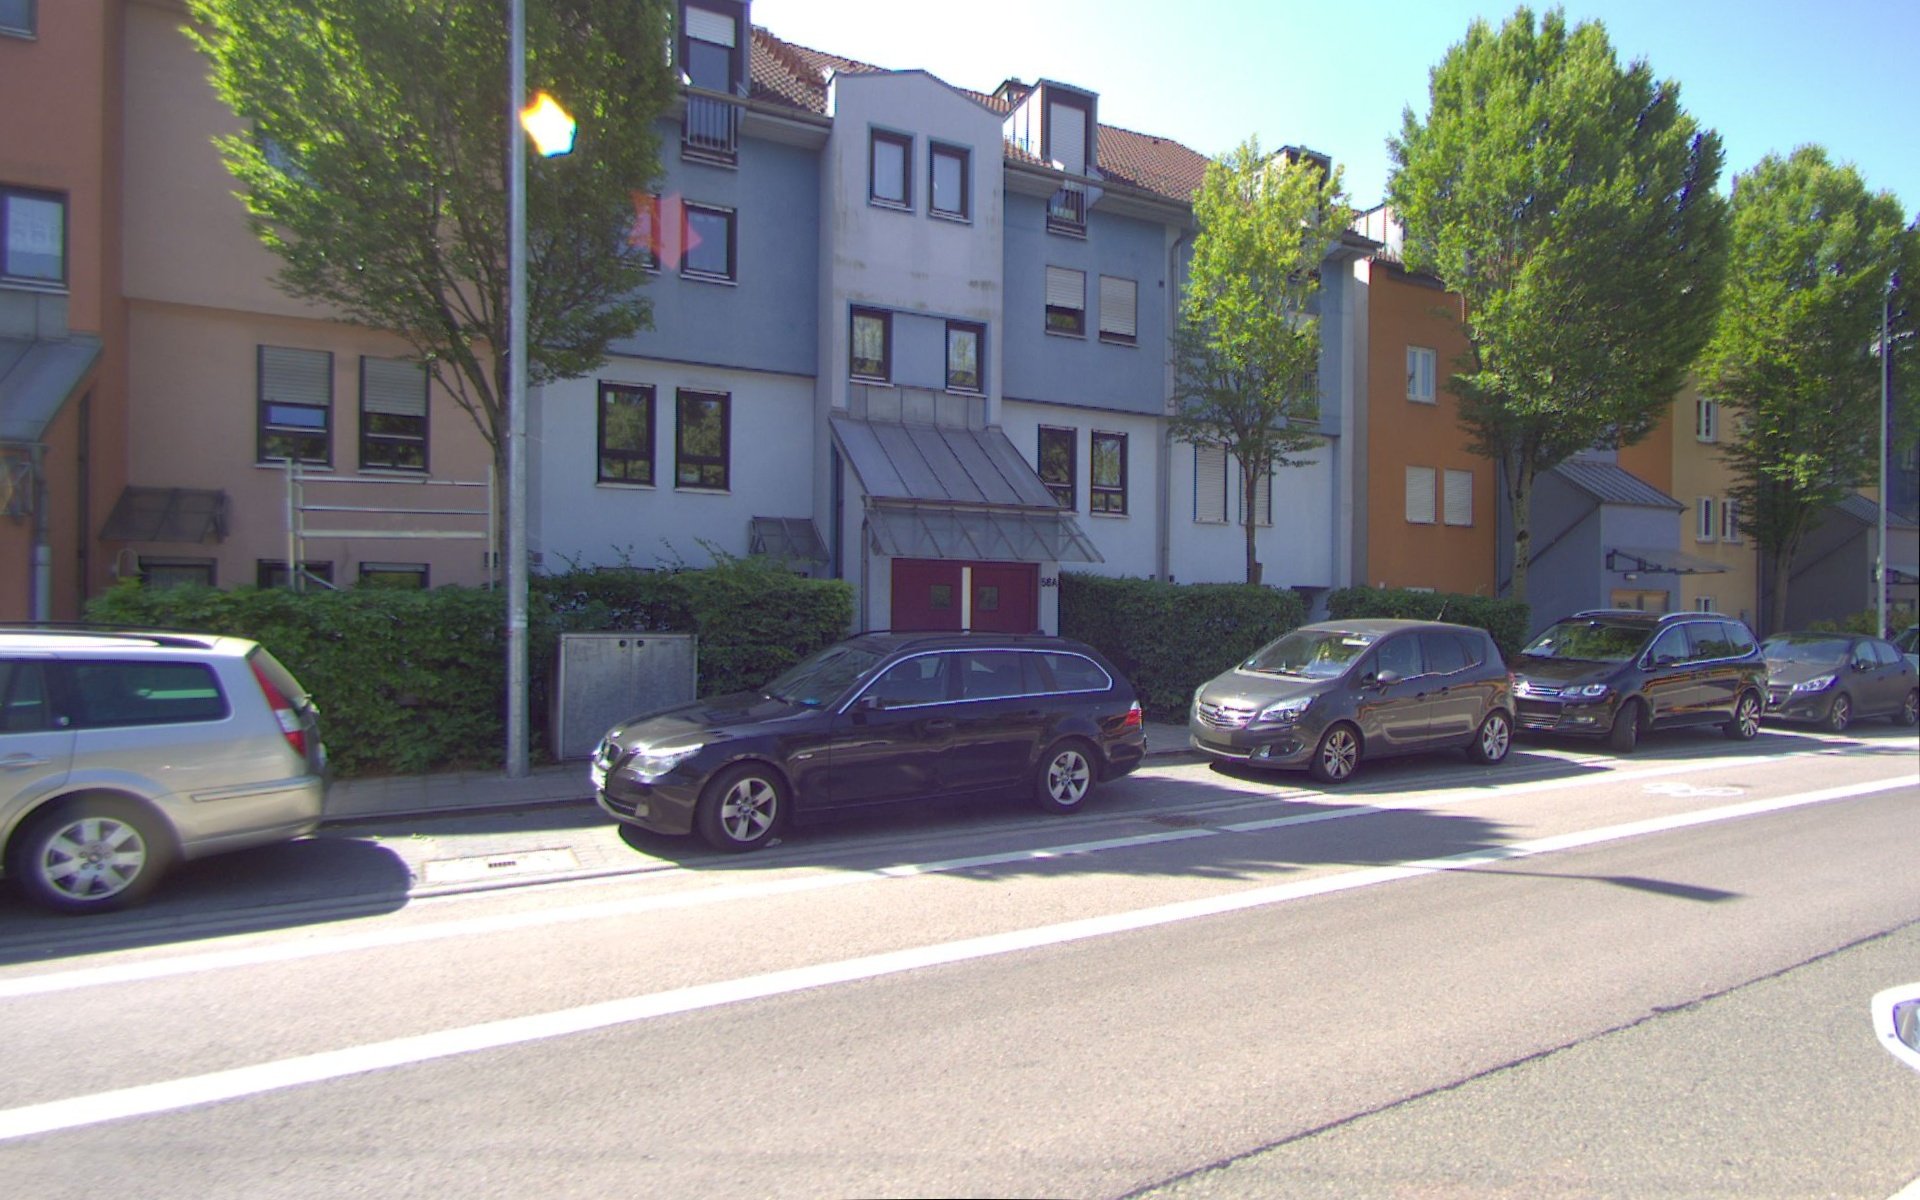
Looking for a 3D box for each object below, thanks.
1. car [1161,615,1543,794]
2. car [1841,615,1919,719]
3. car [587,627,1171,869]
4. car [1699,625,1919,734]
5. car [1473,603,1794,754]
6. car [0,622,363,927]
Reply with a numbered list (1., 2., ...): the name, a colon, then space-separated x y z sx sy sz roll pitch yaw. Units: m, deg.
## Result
1. car: 4.485 1.034 11.346 4.260 1.647 1.709 1 1 -30
2. car: 18.792 1.214 18.645 4.842 1.748 1.795 1 2 -25
3. car: -0.552 1.022 8.508 4.661 1.494 1.714 1 1 -31
4. car: 14.164 1.221 16.474 3.997 1.494 1.683 1 2 -28
5. car: 9.397 0.964 13.911 4.813 1.746 1.760 1 1 -31
6. car: -6.086 0.902 5.487 4.804 1.503 1.770 1 1 -33
